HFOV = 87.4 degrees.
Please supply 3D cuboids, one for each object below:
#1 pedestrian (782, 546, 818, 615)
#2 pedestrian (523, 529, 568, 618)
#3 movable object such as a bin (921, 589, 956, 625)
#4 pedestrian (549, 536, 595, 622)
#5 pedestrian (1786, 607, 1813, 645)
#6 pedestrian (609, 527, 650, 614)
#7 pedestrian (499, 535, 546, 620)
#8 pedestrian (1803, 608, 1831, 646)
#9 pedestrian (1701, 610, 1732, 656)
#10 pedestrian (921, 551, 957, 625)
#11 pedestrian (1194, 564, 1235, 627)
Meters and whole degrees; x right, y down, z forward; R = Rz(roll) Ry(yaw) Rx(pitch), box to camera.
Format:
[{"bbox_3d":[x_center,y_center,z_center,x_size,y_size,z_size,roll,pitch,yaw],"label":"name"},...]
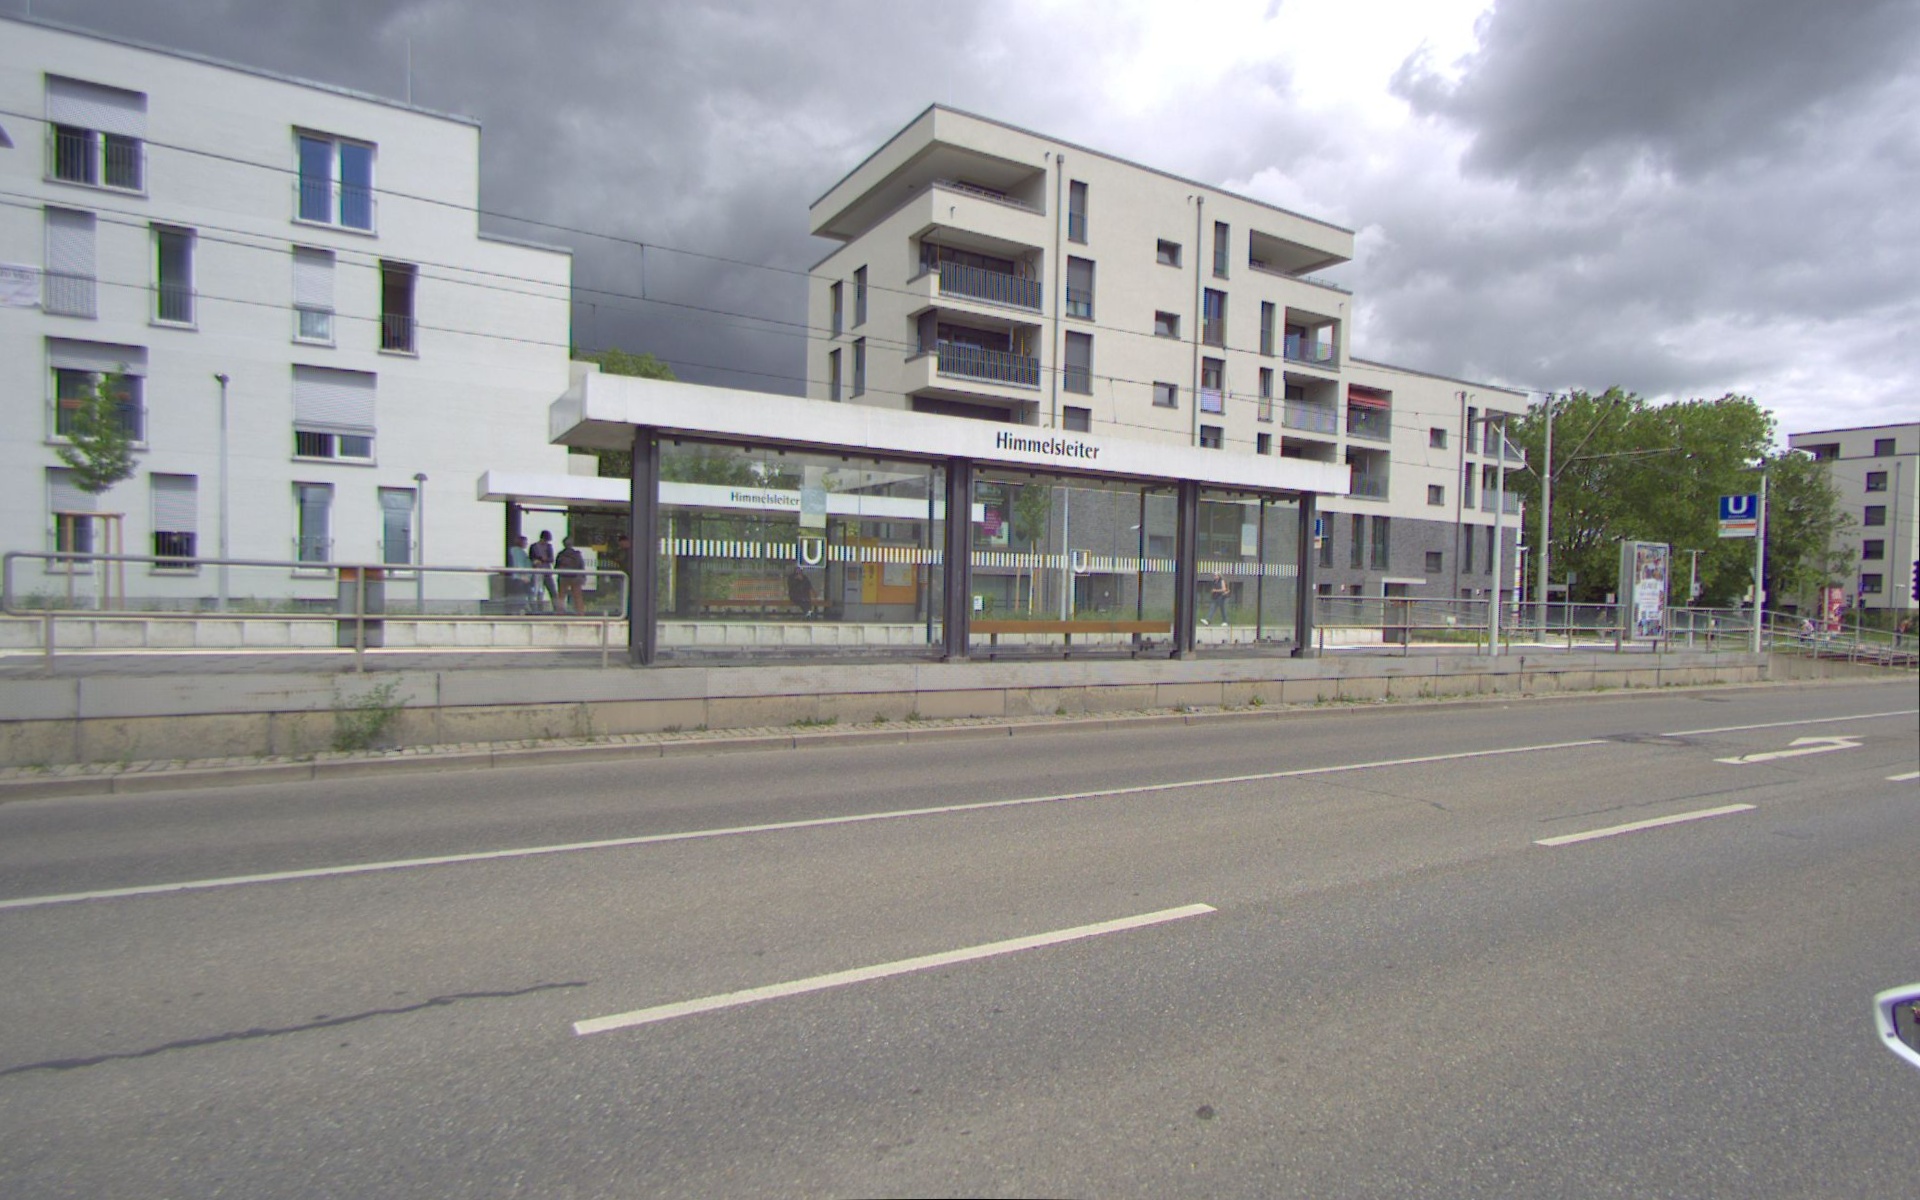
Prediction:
[{"bbox_3d":[-3.736,-0.442,23.412,0.669,1.575,0.559,1,1,-29],"label":"pedestrian"},{"bbox_3d":[-8.311,-0.532,20.149,0.479,1.748,0.677,2,1,25],"label":"pedestrian"},{"bbox_3d":[-0.526,0.174,24.413,0.669,0.861,0.559,1,1,-29],"label":"movable object such as a bin"},{"bbox_3d":[-7.499,-0.409,19.444,0.664,1.618,0.489,1,1,4],"label":"pedestrian"},{"bbox_3d":[49.781,1.534,59.545,0.924,2.162,0.910,1,1,-31],"label":"pedestrian"},{"bbox_3d":[-6.958,-0.624,21.161,0.664,1.789,0.489,1,1,4],"label":"pedestrian"},{"bbox_3d":[-8.457,-0.434,19.427,0.664,1.618,0.489,2,1,12],"label":"pedestrian"},{"bbox_3d":[49.872,1.543,58.451,0.924,2.162,0.910,1,1,-31],"label":"pedestrian"},{"bbox_3d":[37.404,1.636,49.640,0.872,2.234,0.910,1,1,-31],"label":"pedestrian"},{"bbox_3d":[-0.516,-0.298,24.901,0.669,1.789,0.559,1,1,-29],"label":"pedestrian"},{"bbox_3d":[7.377,-0.131,29.111,0.924,1.789,0.671,1,1,-33],"label":"pedestrian"}]
